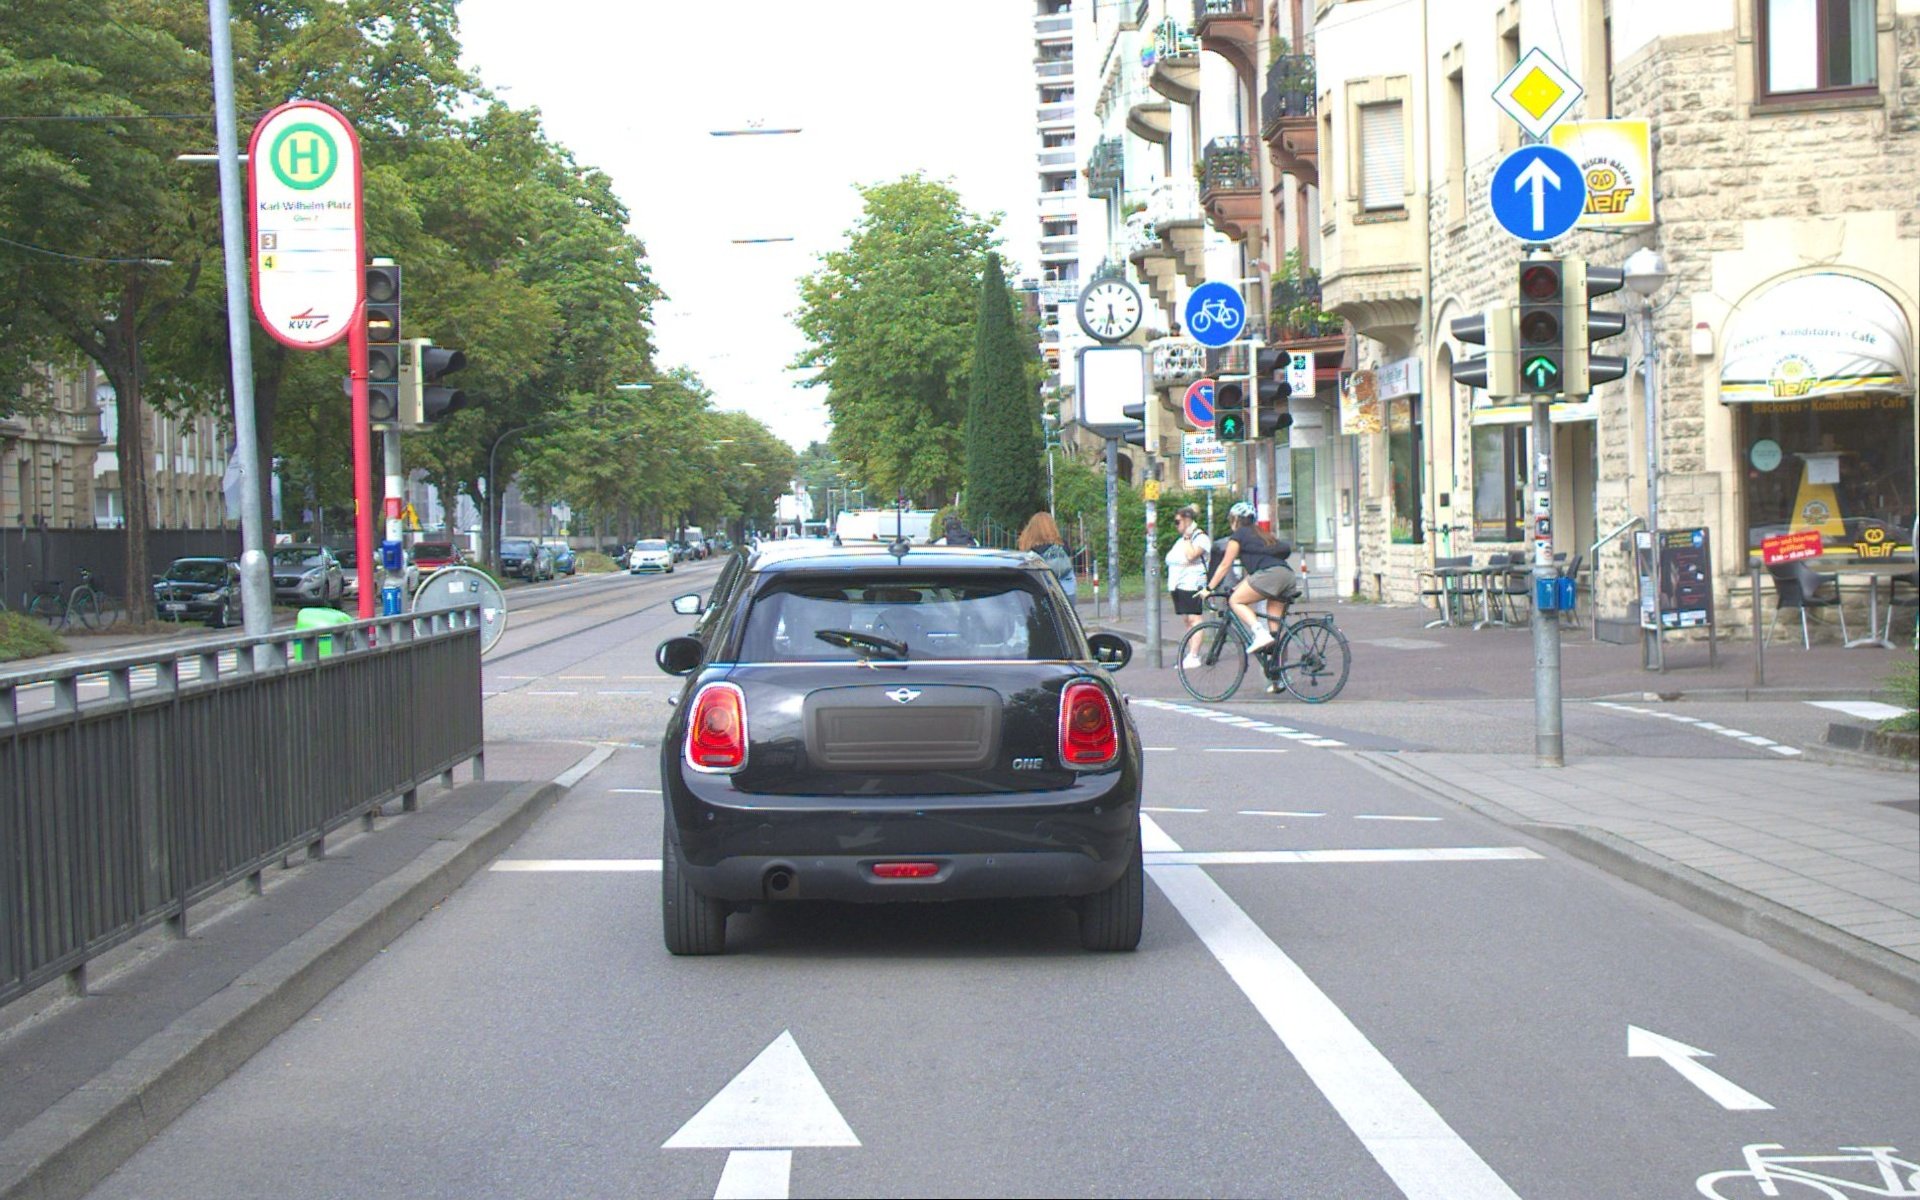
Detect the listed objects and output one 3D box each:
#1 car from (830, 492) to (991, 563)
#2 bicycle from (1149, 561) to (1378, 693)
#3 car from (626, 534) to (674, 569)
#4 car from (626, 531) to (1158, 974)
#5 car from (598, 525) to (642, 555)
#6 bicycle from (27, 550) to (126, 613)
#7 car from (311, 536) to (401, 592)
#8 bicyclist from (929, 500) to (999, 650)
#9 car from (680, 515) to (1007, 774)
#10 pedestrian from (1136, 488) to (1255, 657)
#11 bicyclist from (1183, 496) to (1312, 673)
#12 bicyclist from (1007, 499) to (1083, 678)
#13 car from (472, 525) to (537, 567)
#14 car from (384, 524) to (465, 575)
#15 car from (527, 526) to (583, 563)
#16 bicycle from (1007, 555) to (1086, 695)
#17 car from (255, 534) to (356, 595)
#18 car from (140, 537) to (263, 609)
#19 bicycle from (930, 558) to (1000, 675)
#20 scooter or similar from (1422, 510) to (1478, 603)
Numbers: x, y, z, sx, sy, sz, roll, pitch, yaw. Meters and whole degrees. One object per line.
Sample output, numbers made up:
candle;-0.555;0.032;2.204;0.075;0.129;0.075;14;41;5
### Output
car;-1.643;-2.444;116.003;5.025;2.265;2.396;-3;2;-41
bicycle;2.575;0.231;29.187;1.817;1.073;0.616;-1;2;24
car;-13.079;-2.066;145.194;1.767;1.390;4.001;-2;1;-2
car;-0.242;0.465;13.373;1.751;1.436;4.000;0;1;0
car;-18.362;-3.271;185.724;1.993;1.546;4.000;-1;1;-1
bicycle;-16.472;-0.344;64.108;1.667;1.115;0.573;-3;2;-40
car;-16.015;-0.974;91.281;1.767;1.390;4.001;-2;1;-2
bicyclist;0.048;-0.276;36.495;0.684;1.558;0.998;-2;2;1
car;-0.819;0.223;22.671;1.926;1.504;4.001;-2;1;-3
pedestrian;2.448;-0.282;35.729;0.833;1.668;0.732;-6;2;-44
bicyclist;2.448;-0.136;29.235;0.913;1.467;0.616;-1;2;24
bicyclist;0.751;-0.116;30.473;0.594;1.545;1.014;-2;2;-1
car;-17.627;-2.101;133.275;1.993;1.546;4.000;-1;1;-1
car;-17.155;-1.648;110.310;1.993;1.546;4.000;-1;1;-1
car;-17.593;-2.432;149.509;1.993;1.546;4.000;-1;1;-1
bicycle;0.760;0.205;30.485;0.598;1.166;1.697;-2;2;-1
car;-15.892;-0.891;83.607;1.767;1.390;4.001;-2;1;-2
car;-15.756;-0.593;71.584;1.767;1.390;4.001;-2;1;-2
bicycle;0.063;0.158;36.564;0.684;1.166;1.697;-2;2;1
scooter or similar;6.361;-0.575;44.677;0.508;1.184;1.262;-2;2;-1
